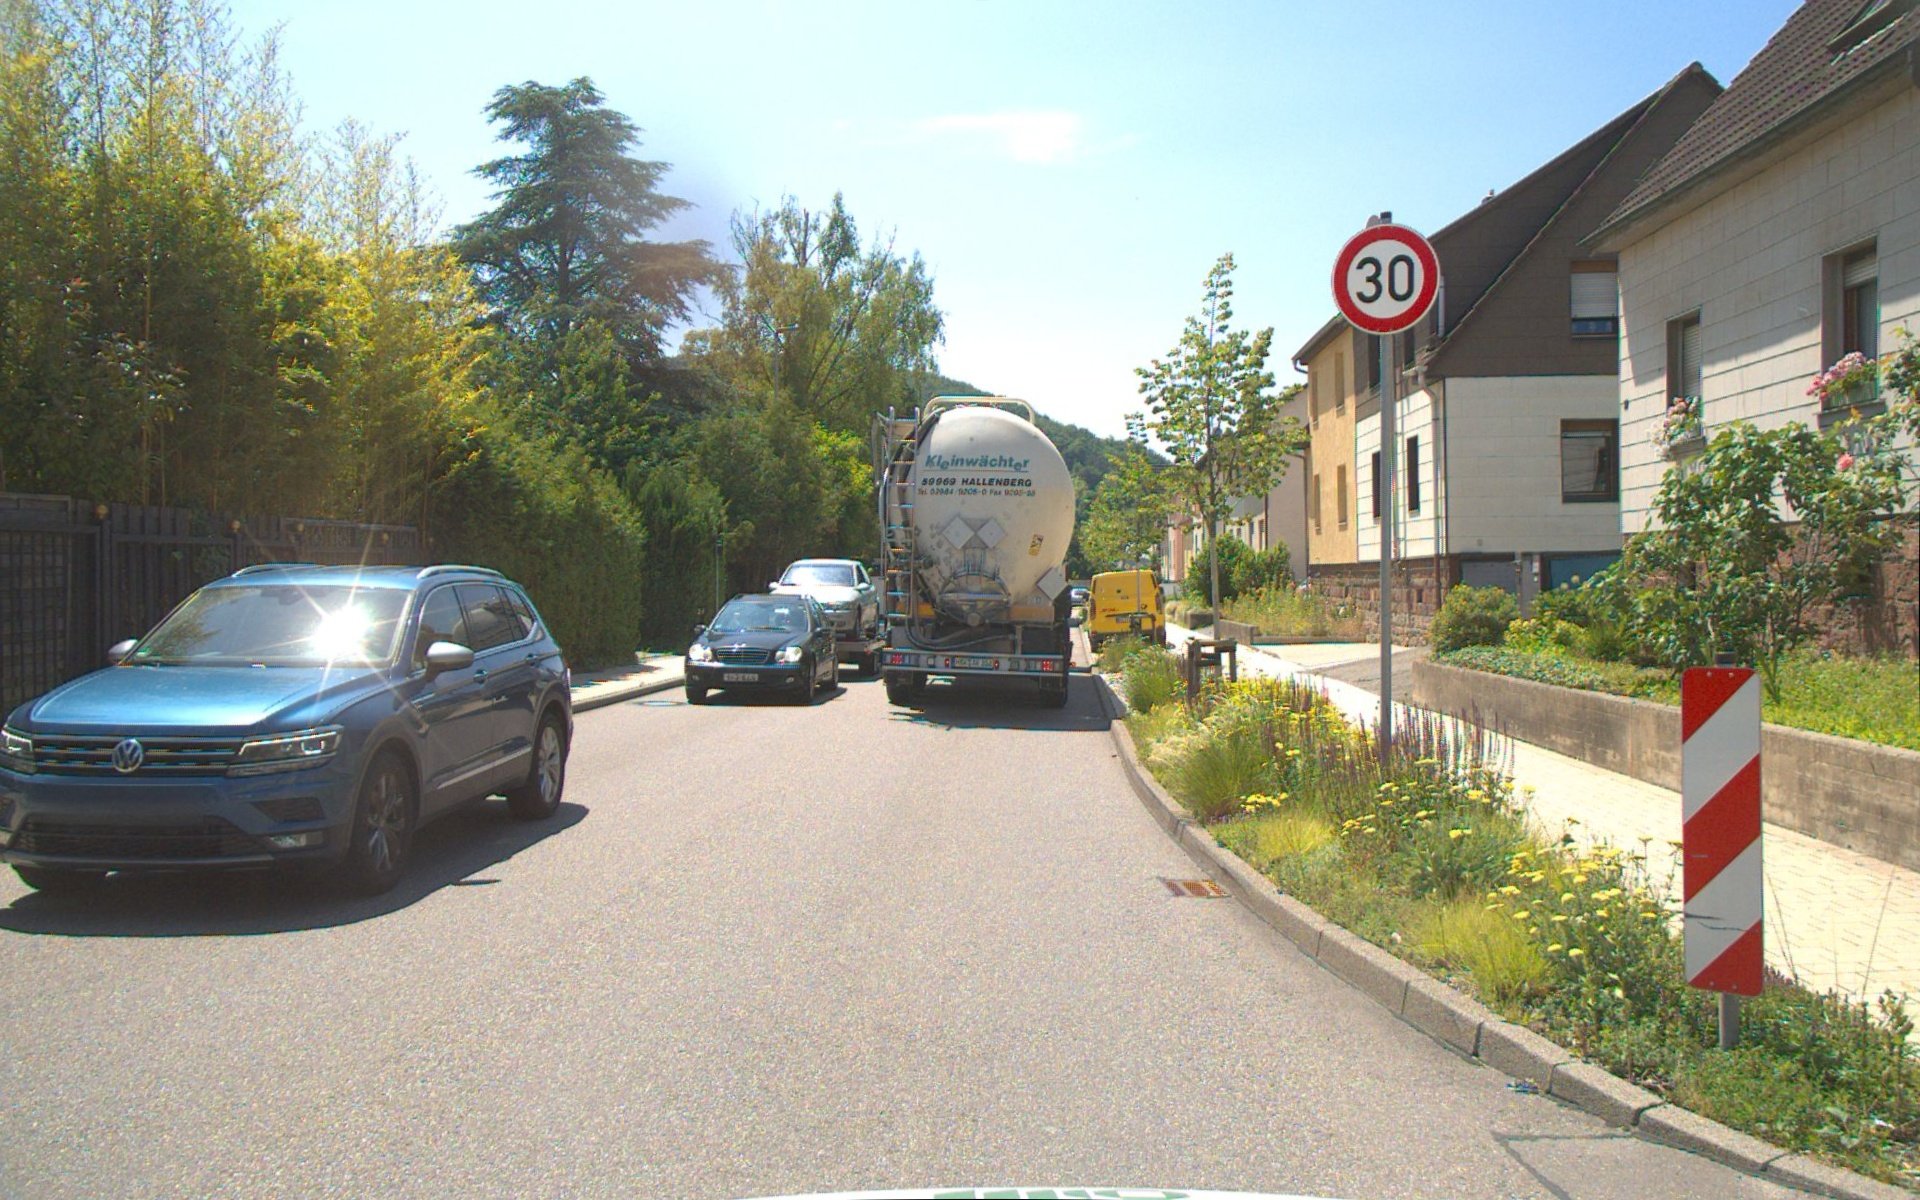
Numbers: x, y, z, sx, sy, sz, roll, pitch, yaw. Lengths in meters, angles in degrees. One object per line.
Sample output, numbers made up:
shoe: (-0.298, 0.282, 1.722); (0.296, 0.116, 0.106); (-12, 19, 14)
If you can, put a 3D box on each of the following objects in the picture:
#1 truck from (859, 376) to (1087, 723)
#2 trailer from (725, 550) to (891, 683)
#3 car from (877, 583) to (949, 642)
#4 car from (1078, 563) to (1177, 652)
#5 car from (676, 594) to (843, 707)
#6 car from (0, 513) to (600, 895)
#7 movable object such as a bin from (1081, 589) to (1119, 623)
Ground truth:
truck: (0.500, -0.657, 25.224); (2.692, 4.127, 10.894); (1, 0, 4)
trailer: (-2.506, 0.286, 28.968); (2.111, 2.021, 6.202); (1, 0, 2)
car: (-1.377, 0.342, 50.256); (1.828, 1.681, 3.950); (1, 1, 3)
car: (4.354, 0.204, 43.815); (2.144, 2.048, 5.624); (-4, -1, 2)
car: (-2.768, 0.674, 23.723); (1.730, 1.427, 4.248); (1, 0, 2)
car: (-3.633, 0.481, 9.740); (1.849, 1.674, 4.614); (1, 0, 2)
movable object such as a bin: (6.207, 0.277, 73.485); (1.539, 1.441, 3.042); (-1, -1, 3)
